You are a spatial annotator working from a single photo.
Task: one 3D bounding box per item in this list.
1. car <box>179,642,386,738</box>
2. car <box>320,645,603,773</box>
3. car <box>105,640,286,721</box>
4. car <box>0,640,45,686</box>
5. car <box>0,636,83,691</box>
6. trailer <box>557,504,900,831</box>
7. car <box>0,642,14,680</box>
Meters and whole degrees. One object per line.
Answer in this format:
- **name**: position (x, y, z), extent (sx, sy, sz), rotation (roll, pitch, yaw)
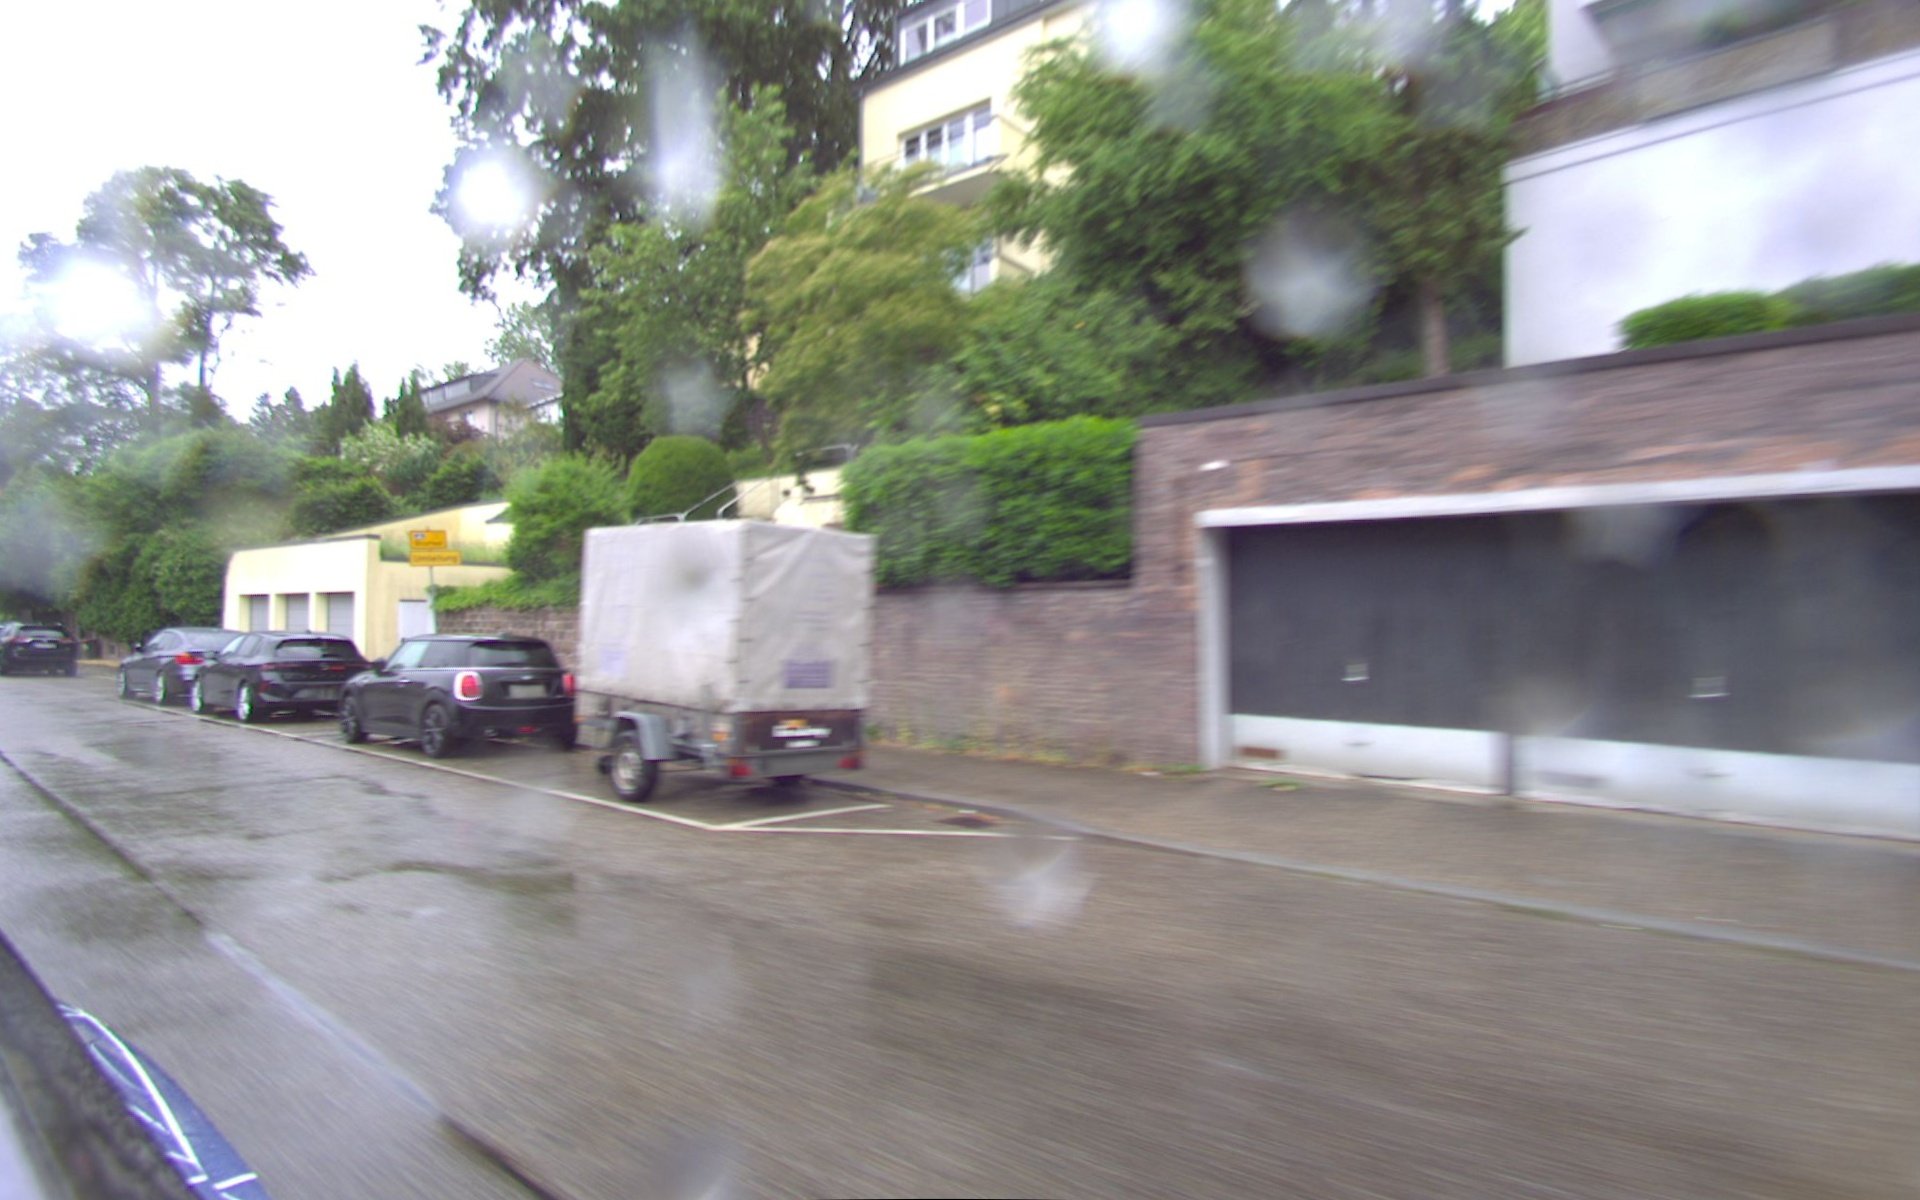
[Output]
- **car**: position (-11.527, 1.439, 17.114), extent (4.213, 1.426, 1.767), rotation (-2, -4, 40)
- **car**: position (-6.306, 1.247, 12.668), extent (3.772, 1.360, 1.790), rotation (-2, -4, 40)
- **car**: position (-15.646, 1.579, 20.616), extent (4.749, 1.466, 1.768), rotation (-2, -4, 39)
- **car**: position (-33.789, 2.182, 35.633), extent (4.105, 1.573, 1.724), rotation (-2, -4, 40)
- **car**: position (-29.725, 2.013, 32.217), extent (4.588, 1.638, 1.856), rotation (-2, -5, 39)
- **trailer**: position (-2.159, 0.569, 9.126), extent (3.073, 2.418, 1.519), rotation (-2, -4, 43)
- **car**: position (-37.519, 2.294, 38.321), extent (4.075, 1.376, 1.701), rotation (-2, -4, 36)
